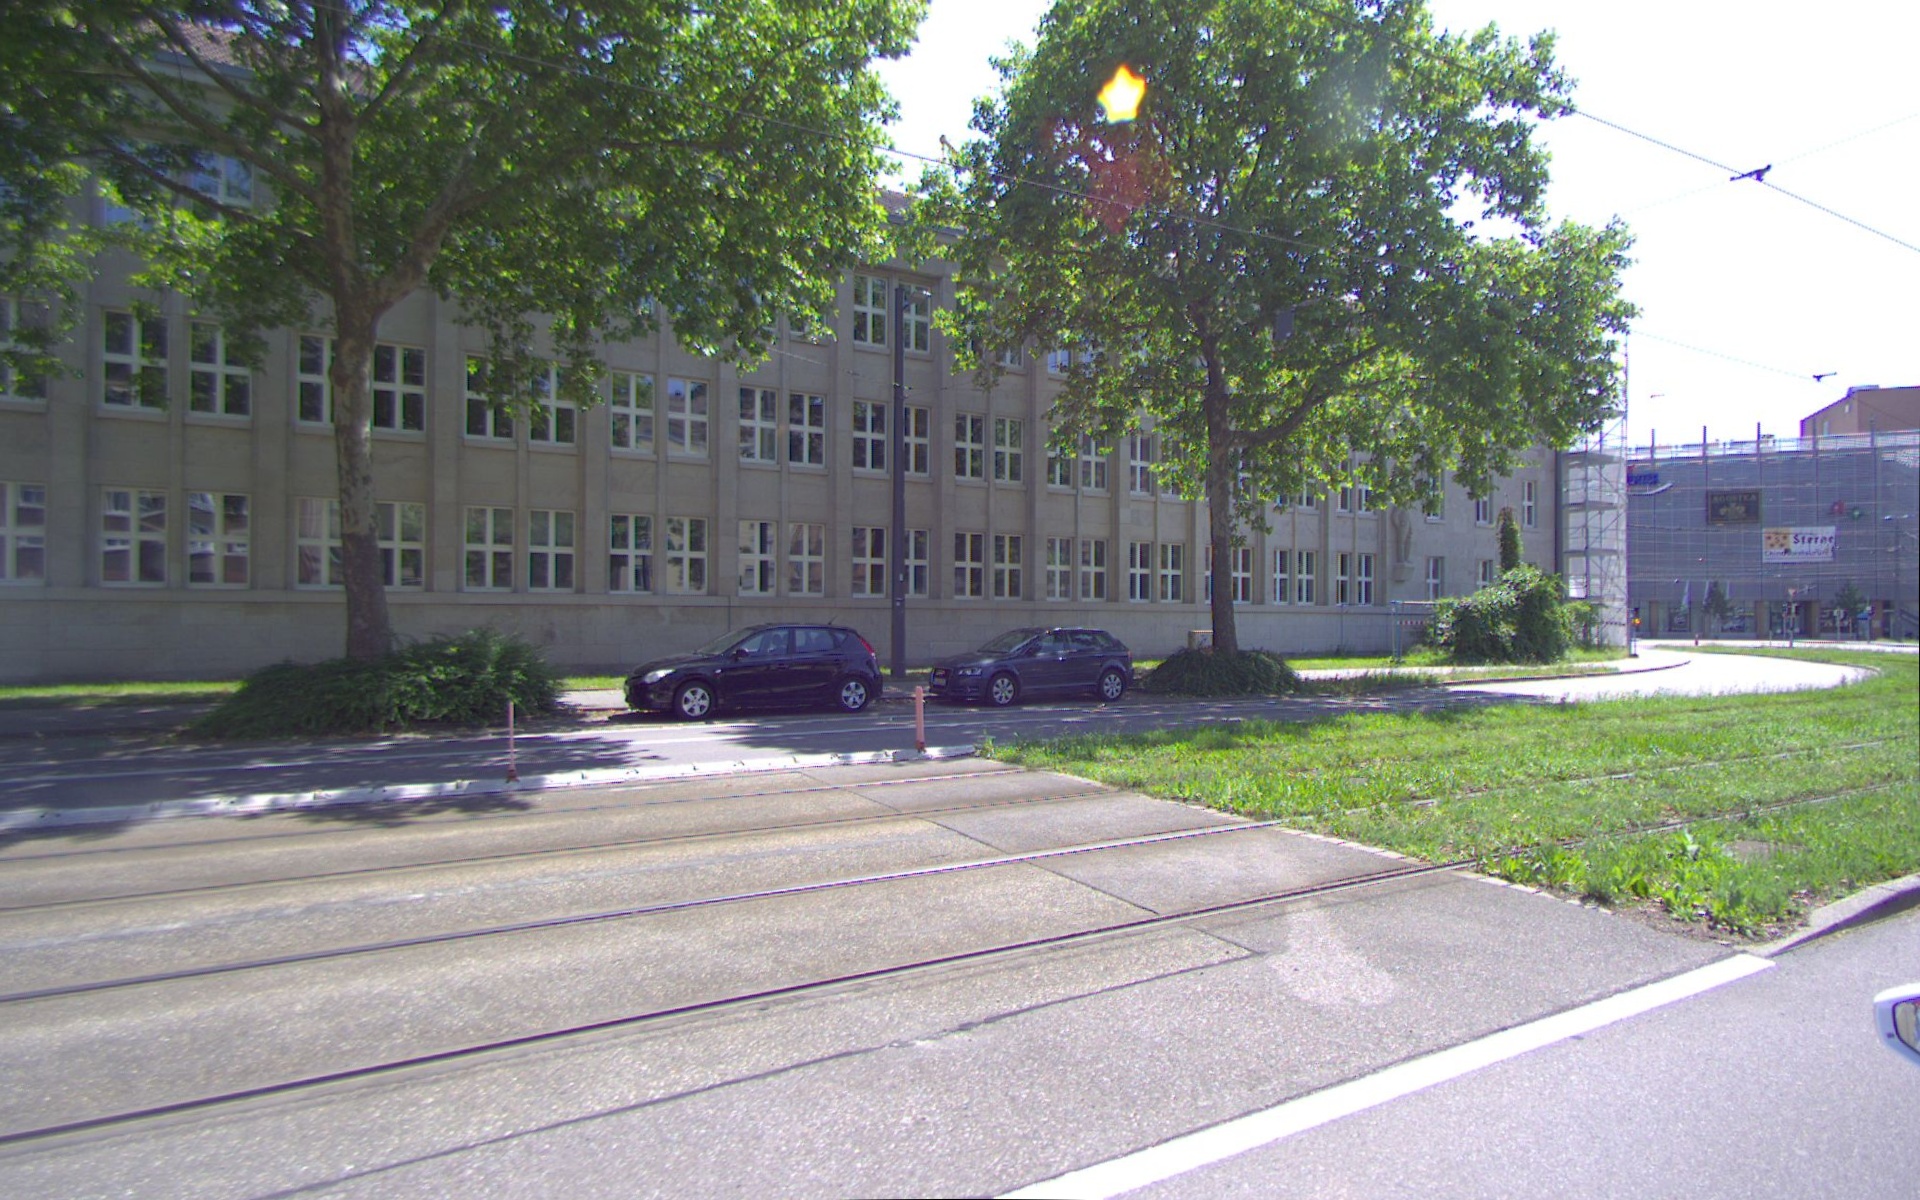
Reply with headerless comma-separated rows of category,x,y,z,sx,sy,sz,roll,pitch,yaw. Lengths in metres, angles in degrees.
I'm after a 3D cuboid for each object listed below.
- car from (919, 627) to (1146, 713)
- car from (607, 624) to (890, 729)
car,1.451,1.263,19.206,4.277,1.443,1.578,1,0,-33
car,-3.461,1.169,16.601,4.270,1.503,1.755,1,0,-29
